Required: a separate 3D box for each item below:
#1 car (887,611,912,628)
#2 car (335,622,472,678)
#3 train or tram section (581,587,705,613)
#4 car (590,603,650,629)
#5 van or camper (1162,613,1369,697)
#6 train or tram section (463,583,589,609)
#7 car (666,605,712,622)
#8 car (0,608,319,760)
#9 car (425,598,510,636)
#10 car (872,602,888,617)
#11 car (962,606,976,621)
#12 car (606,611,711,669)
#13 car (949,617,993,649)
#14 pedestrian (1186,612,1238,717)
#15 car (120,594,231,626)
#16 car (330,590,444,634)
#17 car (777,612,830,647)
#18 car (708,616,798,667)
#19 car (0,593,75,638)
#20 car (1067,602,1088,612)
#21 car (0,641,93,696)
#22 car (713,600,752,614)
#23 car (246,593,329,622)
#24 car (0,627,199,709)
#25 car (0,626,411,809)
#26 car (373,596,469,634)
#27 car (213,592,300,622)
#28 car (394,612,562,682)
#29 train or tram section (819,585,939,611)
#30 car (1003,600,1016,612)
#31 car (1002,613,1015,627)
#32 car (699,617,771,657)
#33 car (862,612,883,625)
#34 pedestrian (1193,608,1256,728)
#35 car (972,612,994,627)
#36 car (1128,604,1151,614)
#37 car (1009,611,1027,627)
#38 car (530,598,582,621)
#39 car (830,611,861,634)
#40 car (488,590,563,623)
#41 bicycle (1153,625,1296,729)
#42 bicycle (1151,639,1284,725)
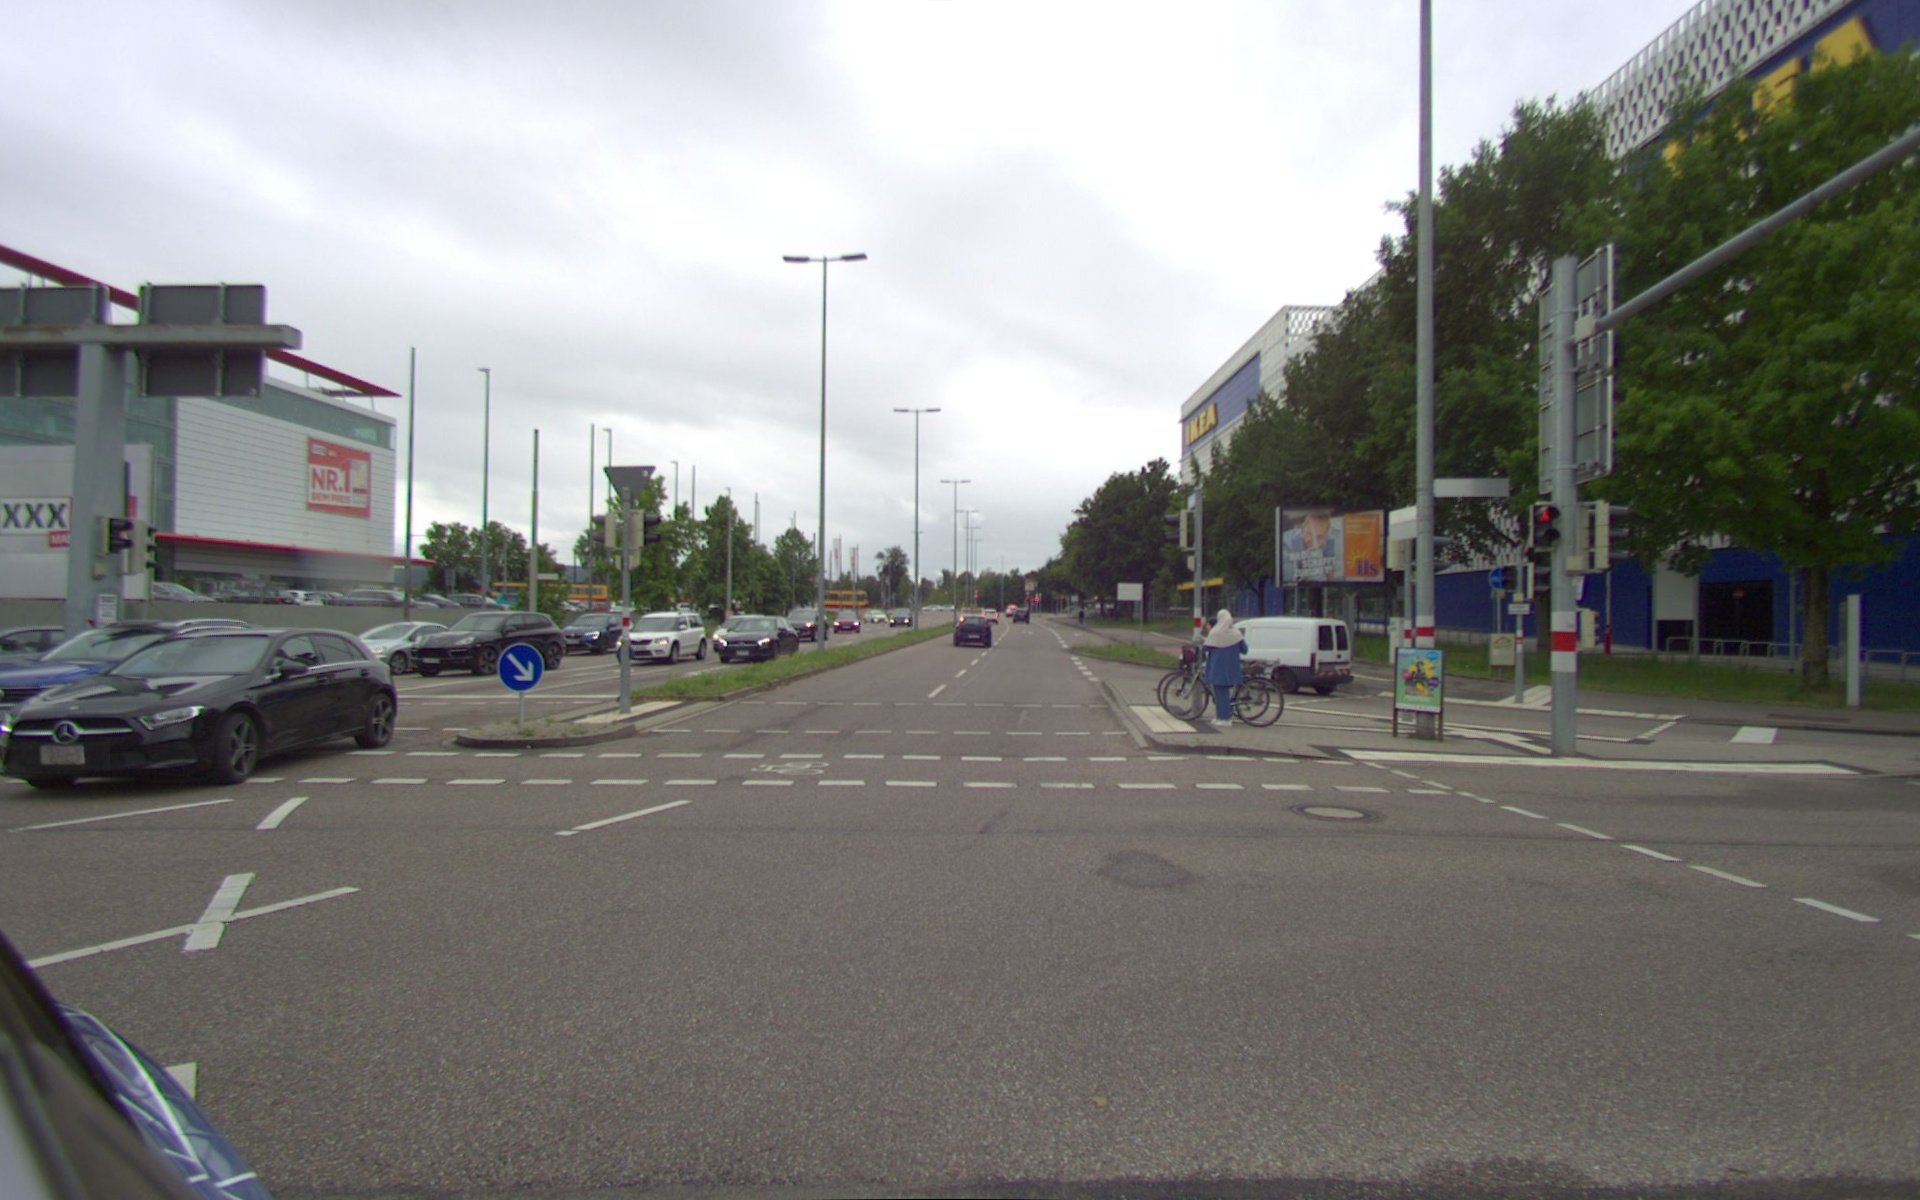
[{"bbox_3d":[-5.520,1.795,92.552,1.779,1.426,4.214,-1,0,4],"label":"car"},{"bbox_3d":[-15.841,1.372,29.041,1.672,1.382,3.924,-1,0,2],"label":"car"},{"bbox_3d":[-61.439,-0.084,196.494,22.965,4.875,3.631,0,0,1],"label":"train or tram section"},{"bbox_3d":[-27.993,1.292,83.428,4.268,2.029,1.999,-1,0,2],"label":"car"},{"bbox_3d":[7.232,1.267,24.319,1.967,1.735,4.404,3,-1,-37],"label":"van or camper"},{"bbox_3d":[-84.330,-0.817,196.902,22.965,4.875,3.631,0,0,1],"label":"train or tram section"},{"bbox_3d":[-26.739,1.349,99.891,3.949,1.577,1.794,-1,0,4],"label":"car"},{"bbox_3d":[-10.914,0.965,13.428,1.824,1.634,4.326,-1,0,5],"label":"car"},{"bbox_3d":[-28.324,0.960,58.275,3.946,2.029,1.999,-1,0,2],"label":"car"},{"bbox_3d":[-12.013,1.403,152.379,1.972,2.259,3.999,0,-1,1],"label":"car"},{"bbox_3d":[1.389,2.083,153.654,1.972,2.236,3.999,0,-1,1],"label":"car"},{"bbox_3d":[-9.530,1.233,32.354,1.777,1.637,4.368,-1,0,5],"label":"car"},{"bbox_3d":[0.541,1.493,46.343,1.705,1.382,3.994,1,-2,5],"label":"car"},{"bbox_3d":[3.930,0.989,15.773,0.647,1.560,0.648,1,1,28],"label":"pedestrian"},{"bbox_3d":[-37.859,0.467,48.924,3.939,1.448,1.869,-1,0,1],"label":"car"},{"bbox_3d":[-28.238,0.603,49.969,4.470,2.029,1.999,-1,0,2],"label":"car"},{"bbox_3d":[-7.949,1.464,51.655,1.779,1.586,4.214,-1,0,4],"label":"car"},{"bbox_3d":[-6.511,1.276,32.287,1.745,1.389,4.254,-1,0,4],"label":"car"},{"bbox_3d":[-42.835,0.711,45.893,3.815,1.962,1.869,-1,0,1],"label":"car"},{"bbox_3d":[23.467,1.391,202.567,3.946,2.029,1.999,-1,0,2],"label":"car"},{"bbox_3d":[-38.939,2.834,42.291,1.972,2.029,4.000,-1,0,0],"label":"car"},{"bbox_3d":[-26.373,0.829,117.381,3.949,1.577,1.794,-1,0,4],"label":"car"},{"bbox_3d":[-42.658,0.483,64.233,3.945,1.752,1.999,-1,0,2],"label":"car"},{"bbox_3d":[-17.171,1.228,18.576,1.815,1.422,4.816,-2,-2,37],"label":"car"},{"bbox_3d":[-7.590,1.020,10.390,1.833,1.445,4.199,-1,-1,-3],"label":"car"},{"bbox_3d":[-28.159,0.774,52.954,3.945,1.863,1.999,-1,0,2],"label":"car"},{"bbox_3d":[-42.750,0.418,61.564,3.945,1.752,1.999,-1,0,2],"label":"car"},{"bbox_3d":[-12.874,1.204,27.364,1.782,1.637,4.356,-1,0,13],"label":"car"},{"bbox_3d":[-15.513,-0.358,195.511,22.965,4.875,3.631,0,0,1],"label":"train or tram section"},{"bbox_3d":[7.832,0.938,160.760,1.823,1.732,3.923,-1,0,2],"label":"car"},{"bbox_3d":[7.304,2.975,151.498,1.823,1.900,3.923,-1,0,2],"label":"car"},{"bbox_3d":[-9.149,1.483,41.459,1.779,1.426,4.214,-1,0,4],"label":"car"},{"bbox_3d":[-10.150,2.102,117.836,1.779,1.426,4.214,-1,0,4],"label":"car"},{"bbox_3d":[3.769,0.948,14.400,0.689,1.639,0.634,1,-1,29],"label":"pedestrian"},{"bbox_3d":[2.377,2.009,103.442,1.767,1.463,3.922,1,0,9],"label":"car"},{"bbox_3d":[29.482,1.470,166.459,3.518,1.652,1.743,-1,0,1],"label":"car"},{"bbox_3d":[6.422,2.112,112.795,1.823,1.668,4.359,2,0,1],"label":"car"},{"bbox_3d":[-37.140,0.881,93.098,3.946,2.029,1.999,-1,0,2],"label":"car"},{"bbox_3d":[-7.737,1.534,68.719,1.776,1.426,4.221,-1,0,-2],"label":"car"},{"bbox_3d":[-27.955,0.431,65.198,3.946,2.029,1.999,-1,0,2],"label":"car"},{"bbox_3d":[3.864,1.098,14.835,1.925,1.407,0.591,1,-2,28],"label":"bicycle"},{"bbox_3d":[3.996,1.246,15.758,1.938,1.174,0.503,1,1,28],"label":"bicycle"}]
